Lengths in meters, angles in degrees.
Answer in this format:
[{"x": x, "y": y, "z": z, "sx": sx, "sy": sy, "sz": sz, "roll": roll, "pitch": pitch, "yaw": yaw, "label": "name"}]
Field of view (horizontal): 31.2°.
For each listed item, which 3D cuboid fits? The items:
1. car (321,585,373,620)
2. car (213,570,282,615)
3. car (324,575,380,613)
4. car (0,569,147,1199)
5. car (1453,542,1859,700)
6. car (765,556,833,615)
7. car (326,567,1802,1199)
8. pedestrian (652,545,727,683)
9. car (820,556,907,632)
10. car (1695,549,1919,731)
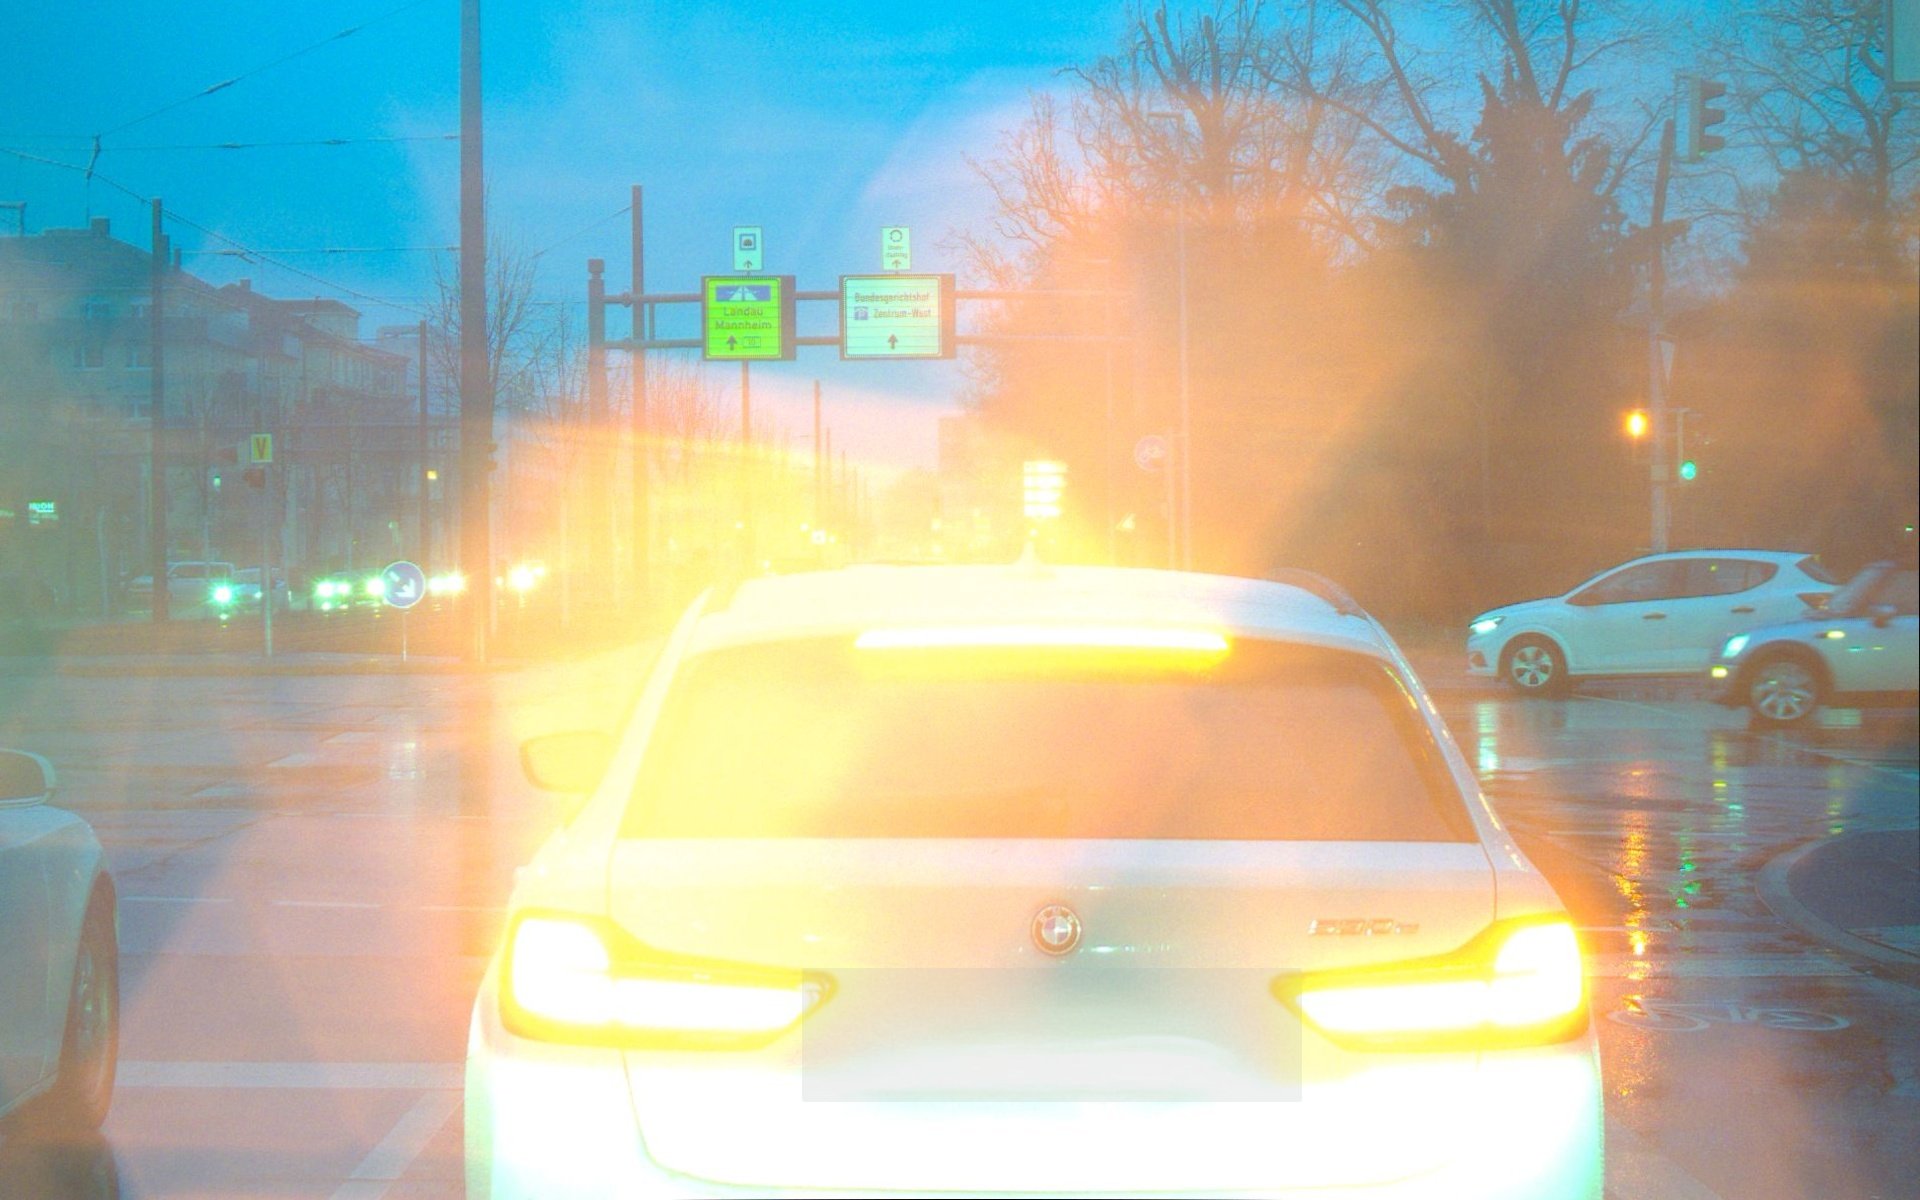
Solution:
[{"x": -27.483, "y": 0.124, "z": 154.237, "sx": 1.675, "sy": 1.502, "sz": 3.696, "roll": 1, "pitch": 0, "yaw": -1, "label": "car"}, {"x": -24.944, "y": -0.260, "z": 120.478, "sx": 1.675, "sy": 1.502, "sz": 3.696, "roll": 1, "pitch": 0, "yaw": -1, "label": "car"}, {"x": -24.875, "y": -0.250, "z": 140.682, "sx": 1.675, "sy": 1.502, "sz": 3.696, "roll": 1, "pitch": 0, "yaw": -1, "label": "car"}, {"x": -3.095, "y": 0.679, "z": 7.046, "sx": 1.993, "sy": 1.451, "sz": 4.369, "roll": 0, "pitch": 1, "yaw": -2, "label": "car"}, {"x": 7.359, "y": 0.207, "z": 36.316, "sx": 3.959, "sy": 1.548, "sz": 1.747, "roll": 1, "pitch": 0, "yaw": 20, "label": "car"}, {"x": -4.598, "y": -0.407, "z": 98.758, "sx": 1.843, "sy": 1.603, "sz": 3.945, "roll": 1, "pitch": 0, "yaw": -1, "label": "car"}, {"x": 0.051, "y": 0.682, "z": 6.828, "sx": 1.993, "sy": 1.451, "sz": 4.369, "roll": 0, "pitch": 1, "yaw": -2, "label": "car"}, {"x": -3.685, "y": 0.187, "z": 46.818, "sx": 0.902, "sy": 1.850, "sz": 0.812, "roll": 1, "pitch": 0, "yaw": -10, "label": "pedestrian"}, {"x": -2.135, "y": -0.125, "z": 75.885, "sx": 1.843, "sy": 1.603, "sz": 3.945, "roll": 1, "pitch": 0, "yaw": -2, "label": "car"}, {"x": 8.161, "y": 0.348, "z": 29.225, "sx": 3.690, "sy": 1.473, "sz": 1.628, "roll": 1, "pitch": 0, "yaw": 12, "label": "car"}]
